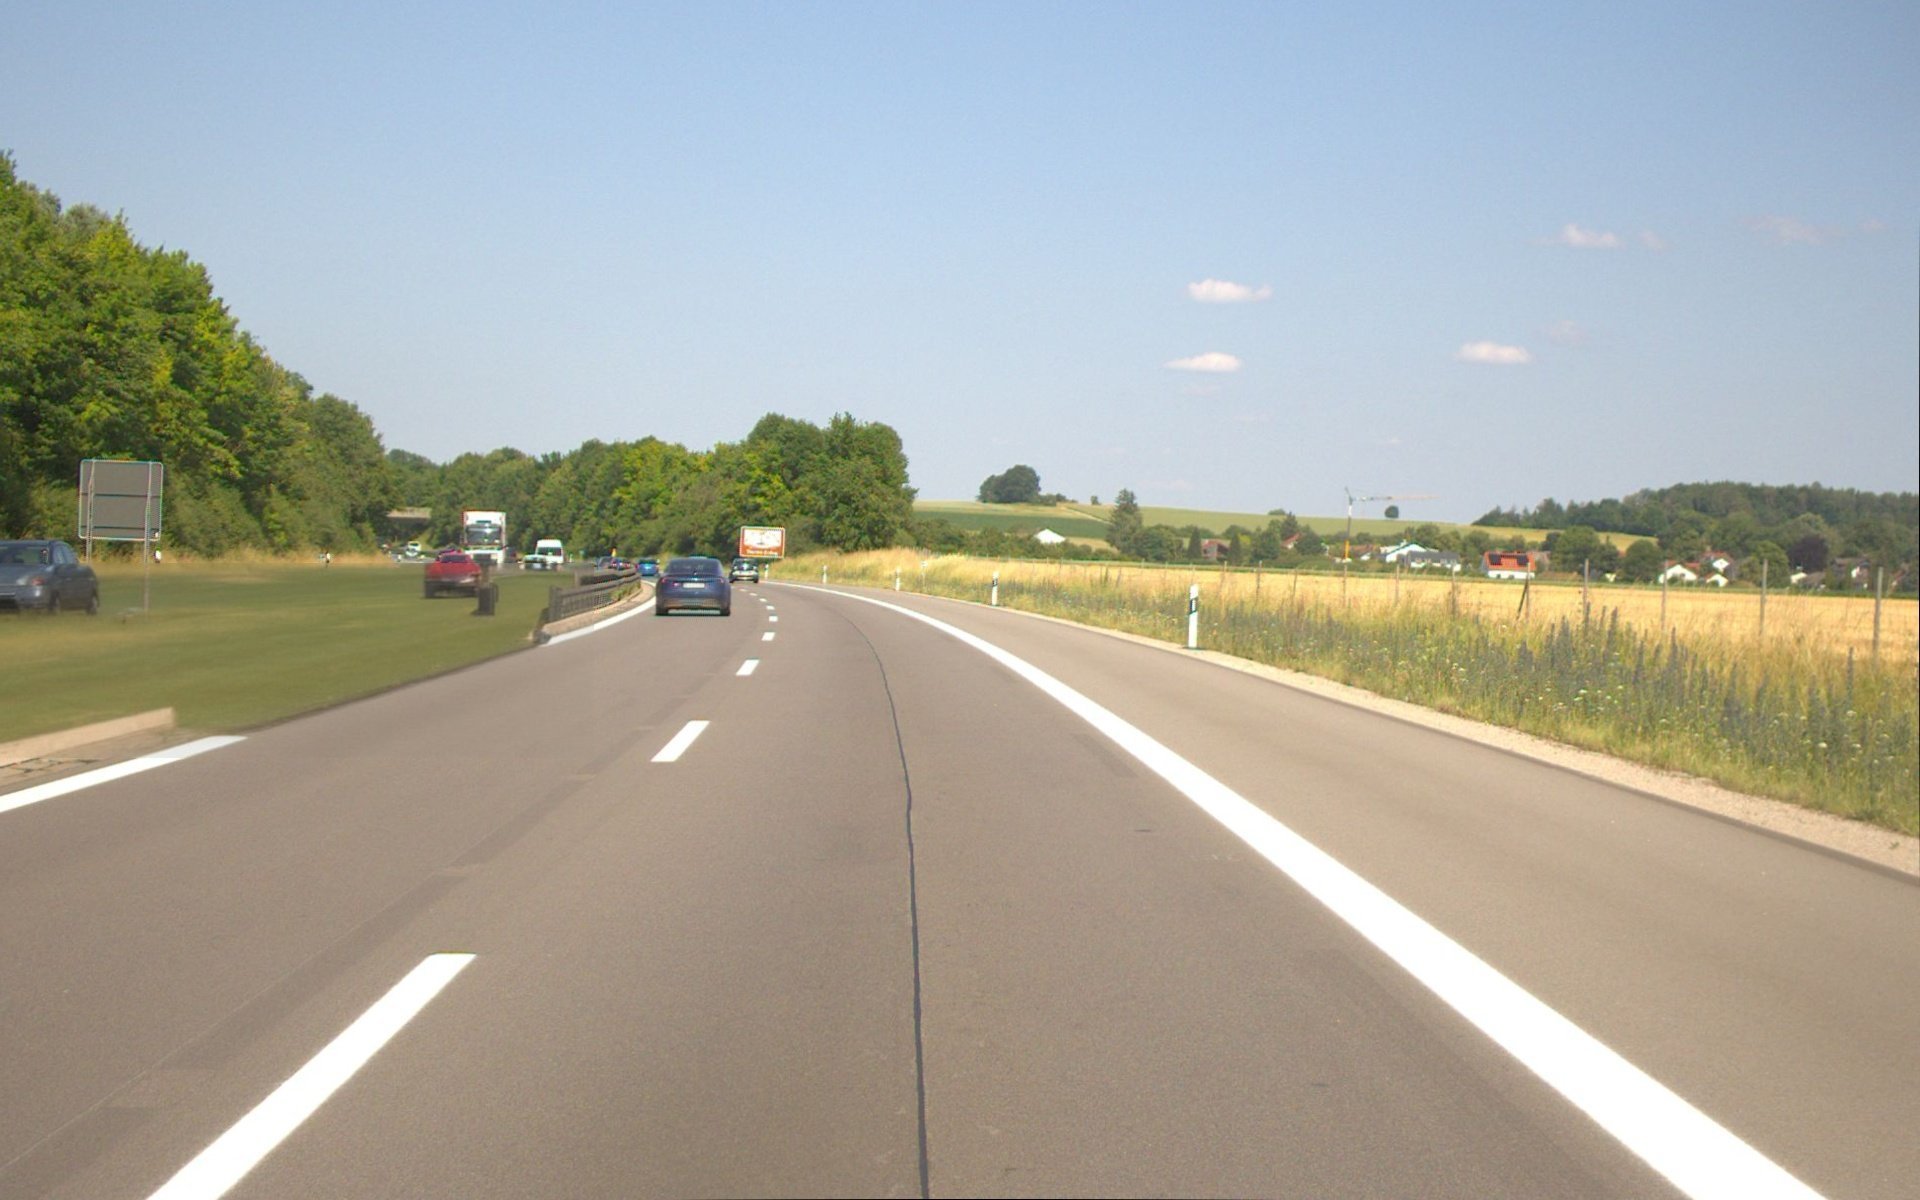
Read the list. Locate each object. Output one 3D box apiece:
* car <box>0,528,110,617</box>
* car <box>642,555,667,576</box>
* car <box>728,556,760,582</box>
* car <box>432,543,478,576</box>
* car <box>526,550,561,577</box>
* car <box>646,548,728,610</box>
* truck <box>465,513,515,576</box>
[{"bbox_3d":[-17.164,-0.536,63.555,1.810,1.550,4.850,2,1,-2],"label":"car"},{"bbox_3d":[-22.260,-2.546,250.768,1.676,1.448,3.592,1,1,-4],"label":"car"},{"bbox_3d":[-12.622,-1.789,200.748,1.676,1.448,3.593,1,1,-5],"label":"car"},{"bbox_3d":[-22.891,-1.833,155.854,1.672,1.432,4.142,1,1,-3],"label":"car"},{"bbox_3d":[-24.137,-2.123,199.202,1.685,1.478,4.978,1,1,-4],"label":"car"},{"bbox_3d":[-6.860,-0.549,86.749,1.847,1.428,5.866,1,1,-3],"label":"car"},{"bbox_3d":[-29.405,-3.476,215.236,2.745,3.816,5.913,1,1,-5],"label":"truck"}]
